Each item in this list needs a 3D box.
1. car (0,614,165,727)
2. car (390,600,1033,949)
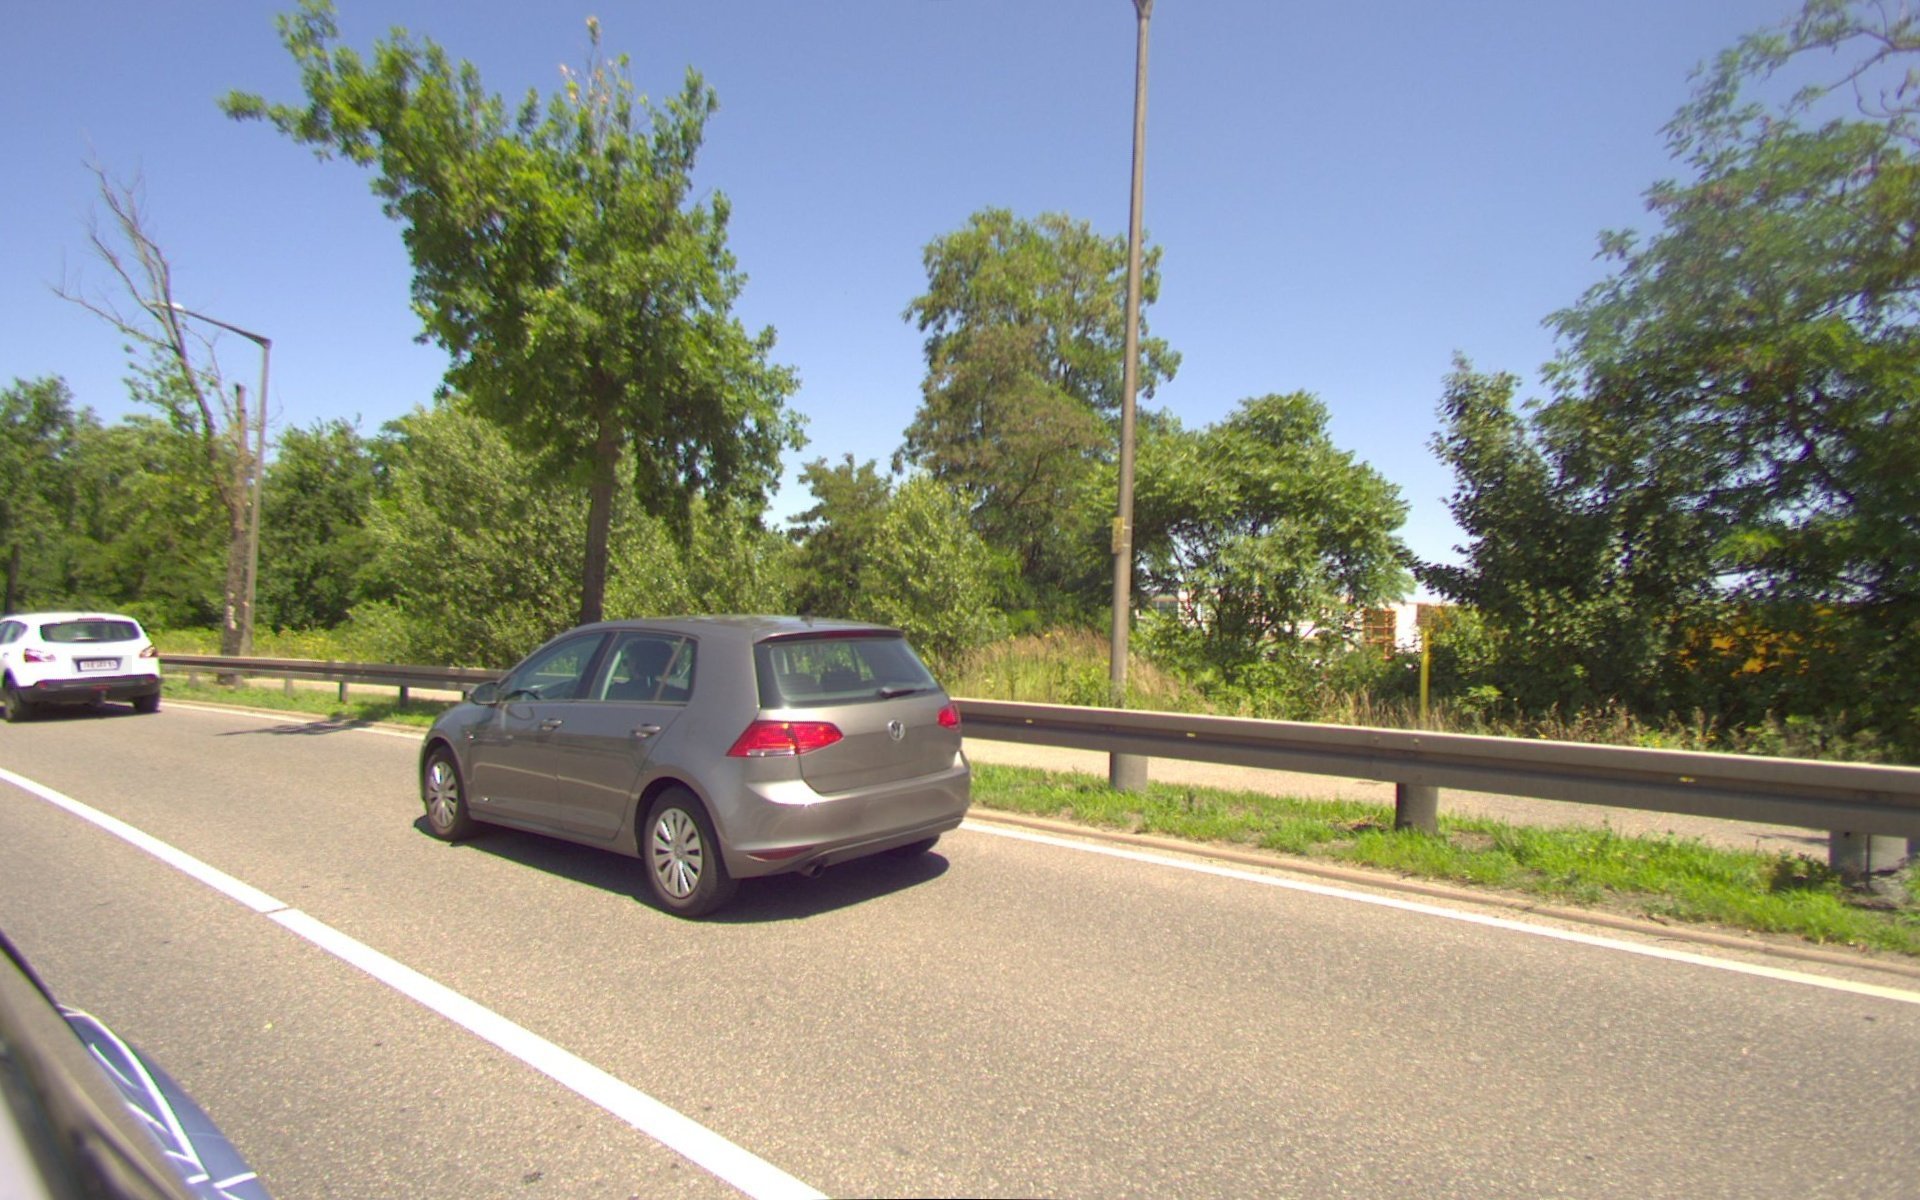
[{"bbox_3d":[-14.455,1.028,16.039,4.383,1.558,1.731,-1,-1,35],"label":"car"},{"bbox_3d":[-1.716,0.773,6.162,4.103,1.438,1.699,-1,-2,39],"label":"car"}]
